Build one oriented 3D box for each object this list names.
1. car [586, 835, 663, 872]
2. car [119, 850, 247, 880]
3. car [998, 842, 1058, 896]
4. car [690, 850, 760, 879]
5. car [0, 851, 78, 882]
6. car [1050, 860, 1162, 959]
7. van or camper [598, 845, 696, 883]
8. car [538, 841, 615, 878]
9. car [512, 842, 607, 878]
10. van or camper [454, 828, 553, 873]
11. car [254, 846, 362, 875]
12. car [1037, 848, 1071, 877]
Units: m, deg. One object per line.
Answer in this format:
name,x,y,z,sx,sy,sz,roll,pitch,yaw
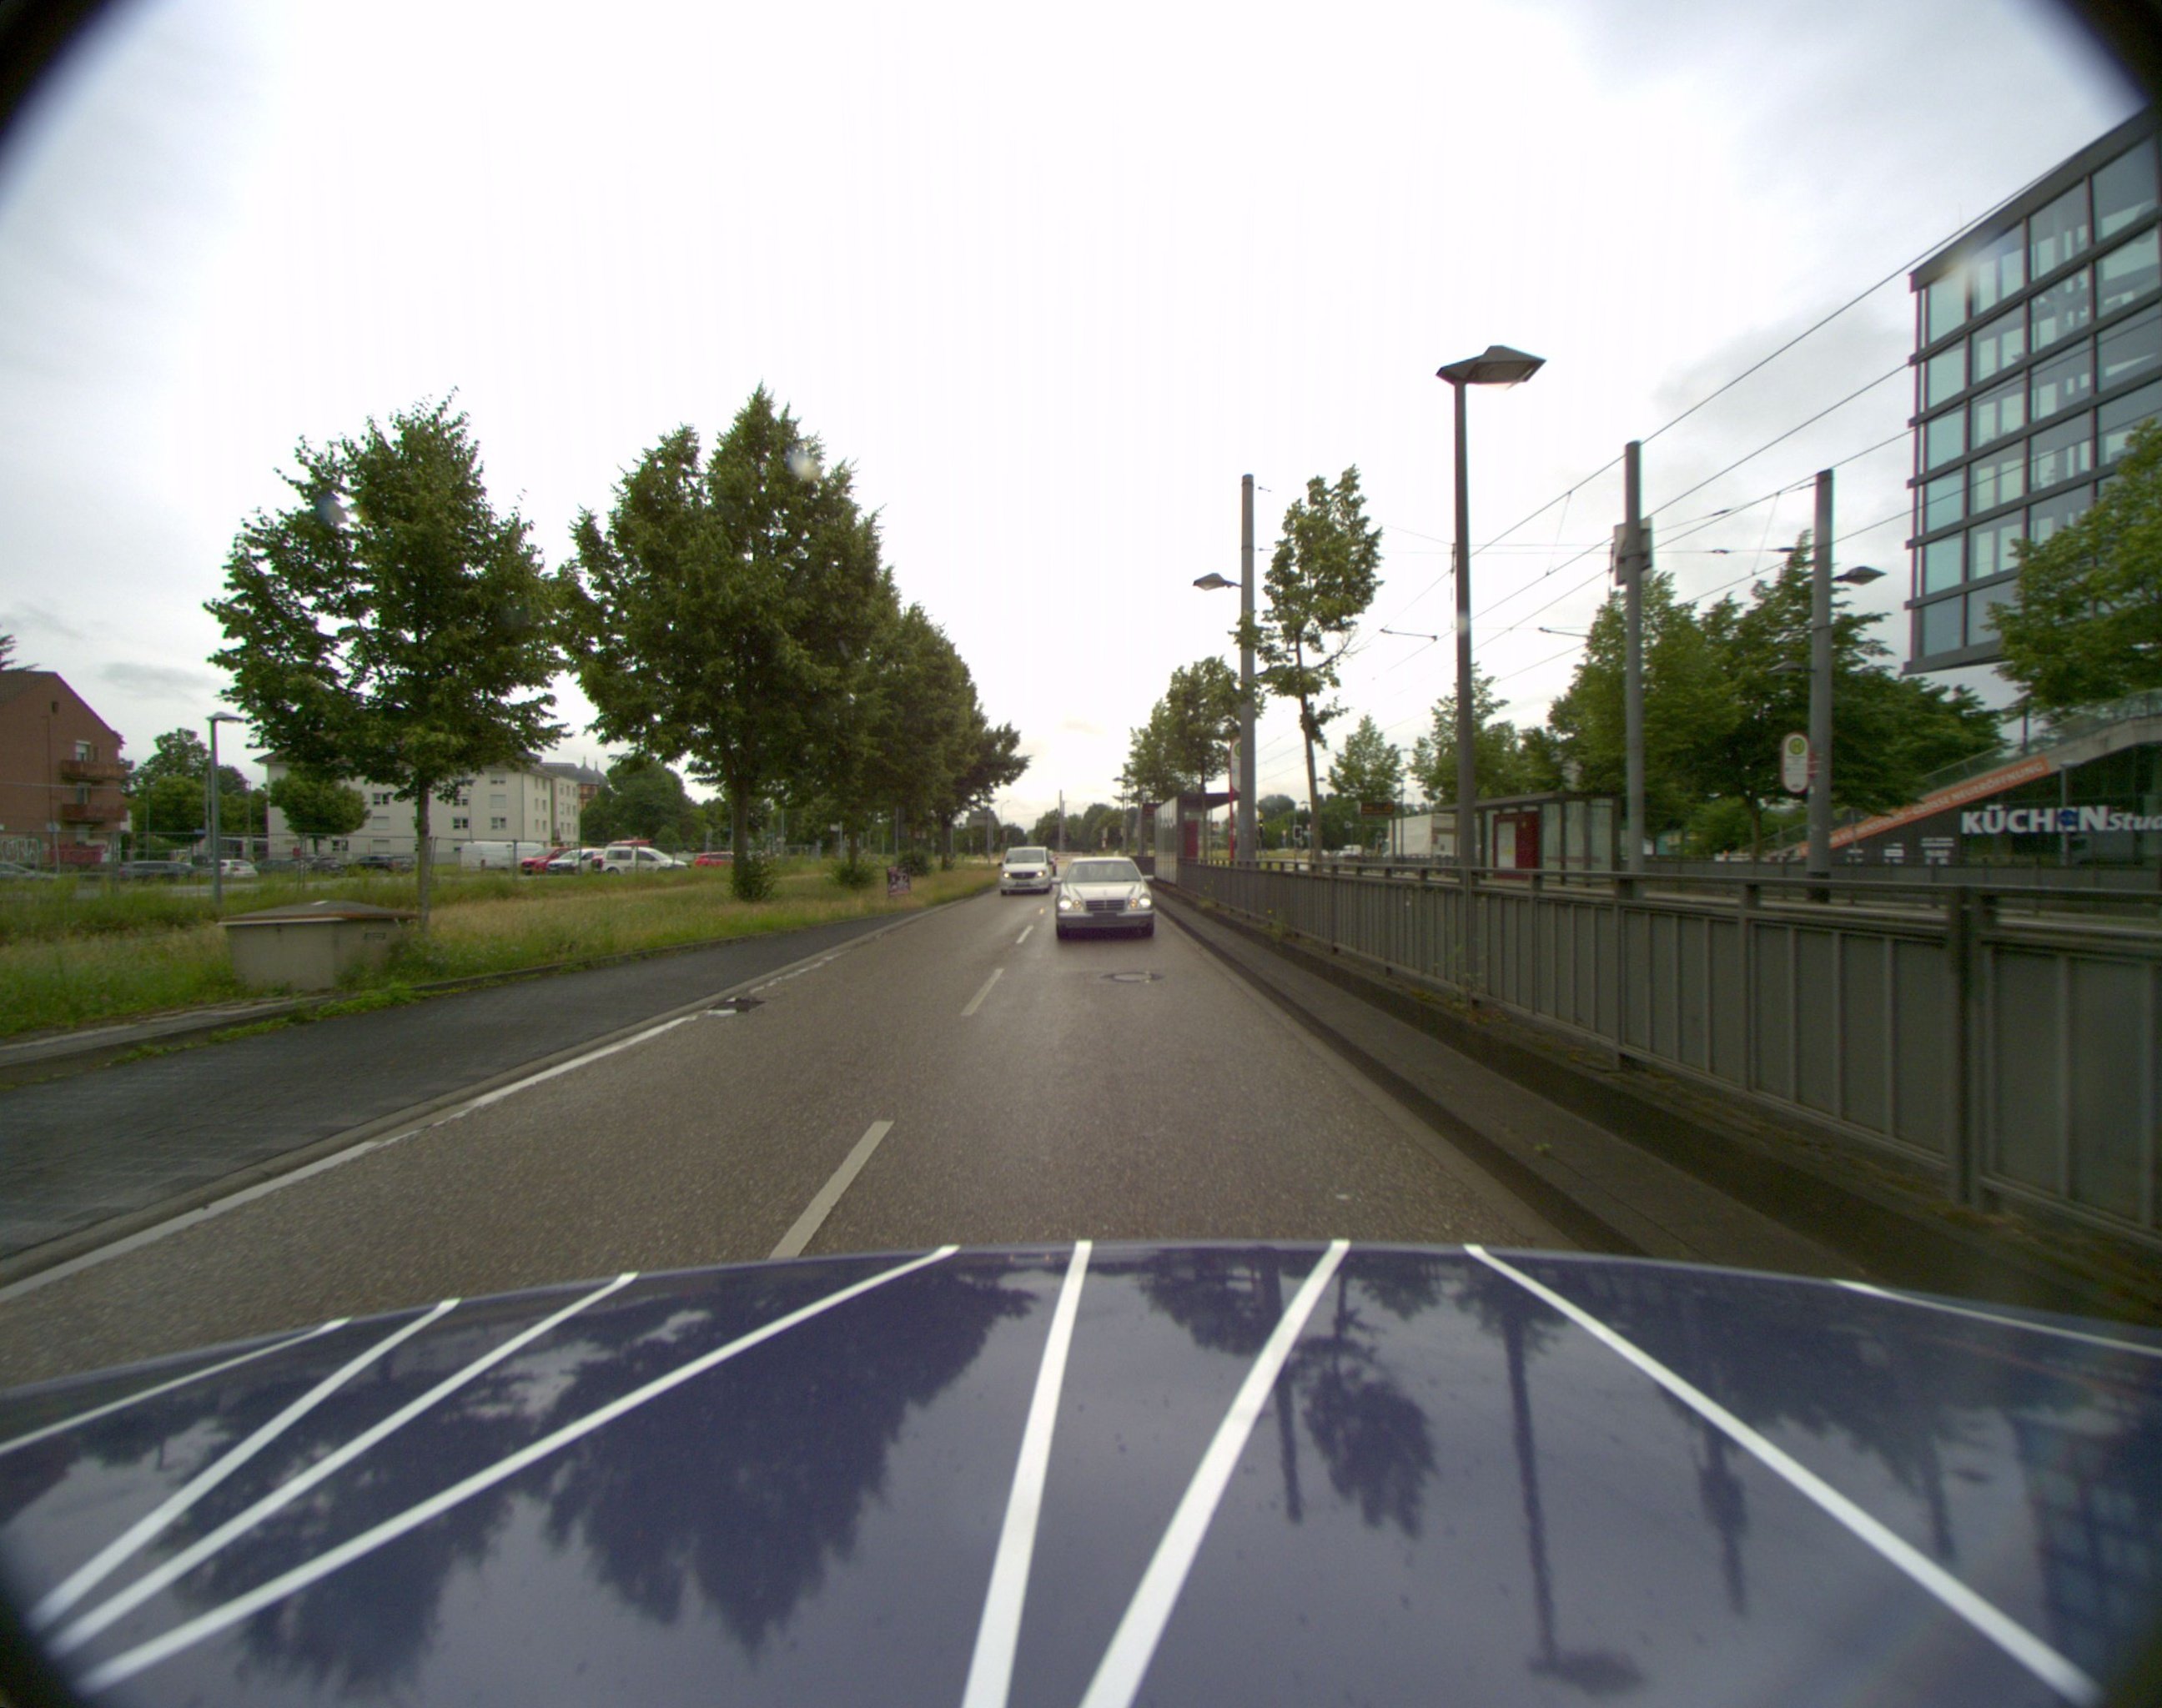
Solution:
car,-29.684,-0.050,49.527,1.996,2.297,4.004,-1,1,13
car,-47.976,0.565,40.684,1.995,1.445,4.006,-2,1,27
car,-2.068,0.525,31.248,1.972,1.968,5.091,-1,1,1
car,-23.276,0.671,49.744,3.802,1.696,1.680,-2,1,6
car,-49.218,0.586,34.456,1.997,1.364,4.003,-2,1,11
car,0.433,0.885,14.229,1.738,1.451,4.607,-1,1,1
van or camper,-24.263,0.549,42.624,4.334,2.002,1.860,-1,1,-6
car,-33.244,0.334,50.205,1.997,2.297,4.002,-1,0,9
car,-35.555,0.387,52.023,2.195,2.297,5.449,-1,0,9
van or camper,-42.276,-0.293,55.823,2.343,3.017,5.514,-2,1,11
car,-45.612,0.380,44.935,1.995,1.543,4.006,-2,1,27
car,-1.627,0.496,47.321,1.799,1.603,4.245,-3,1,2
